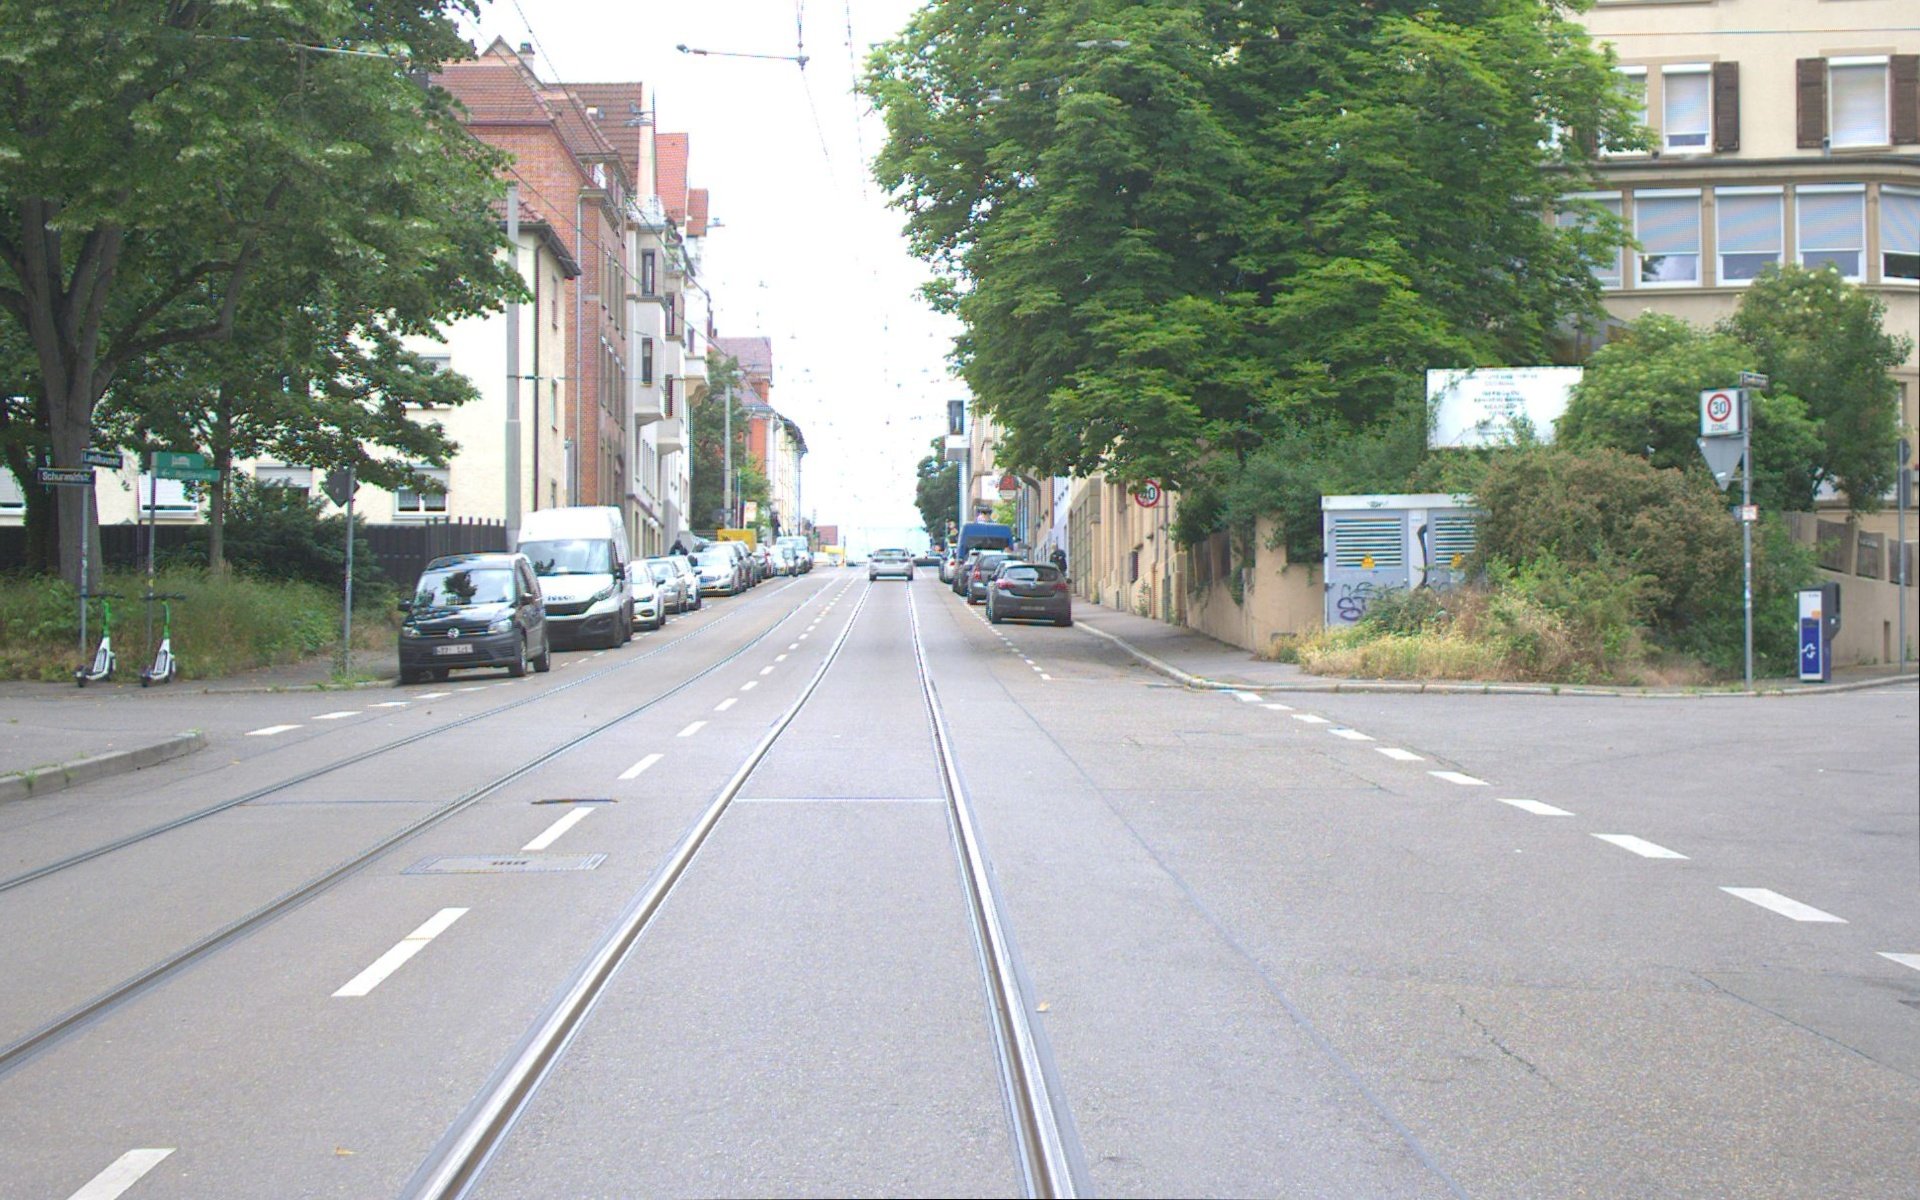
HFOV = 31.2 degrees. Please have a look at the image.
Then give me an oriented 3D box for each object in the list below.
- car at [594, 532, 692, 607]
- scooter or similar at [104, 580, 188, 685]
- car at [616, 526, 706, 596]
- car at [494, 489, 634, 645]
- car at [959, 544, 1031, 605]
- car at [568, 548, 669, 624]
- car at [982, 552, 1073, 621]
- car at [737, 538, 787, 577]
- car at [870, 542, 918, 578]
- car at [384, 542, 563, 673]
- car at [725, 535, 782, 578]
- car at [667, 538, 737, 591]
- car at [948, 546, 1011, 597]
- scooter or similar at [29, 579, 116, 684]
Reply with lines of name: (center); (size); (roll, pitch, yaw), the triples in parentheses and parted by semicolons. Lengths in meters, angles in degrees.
car: (-7.908, -0.748, 86.068); (1.993, 1.806, 4.312); (1, 0, 0)
scooter or similar: (-10.582, 0.417, 44.733); (0.691, 1.334, 1.639); (1, 0, 0)
car: (-7.943, -1.019, 91.663); (1.993, 1.806, 4.312); (1, 0, 0)
car: (-7.352, -0.600, 64.393); (2.230, 2.755, 5.800); (1, 0, -3)
car: (1.001, -0.731, 99.439); (1.993, 1.711, 4.000); (0, 0, -1)
car: (-7.387, -0.306, 74.713); (1.993, 1.595, 4.313); (1, 0, -3)
car: (1.523, -0.318, 79.062); (1.993, 1.524, 4.312); (1, 0, 0)
car: (-8.483, -1.811, 147.748); (1.993, 1.596, 4.000); (1, 0, -1)
car: (-2.801, -1.672, 145.041); (1.993, 1.493, 4.312); (1, 0, -1)
car: (-7.009, 0.096, 49.875); (1.993, 1.802, 4.000); (1, 0, 0)
car: (-7.891, -1.655, 131.578); (1.993, 1.596, 4.000); (1, 0, -1)
car: (-8.106, -1.105, 108.224); (1.924, 1.596, 4.000); (1, 0, -1)
car: (0.613, -0.923, 112.184); (1.993, 1.645, 4.000); (0, 0, -1)
scooter or similar: (-11.537, 0.403, 44.730); (0.691, 1.334, 1.639); (1, 0, 0)
